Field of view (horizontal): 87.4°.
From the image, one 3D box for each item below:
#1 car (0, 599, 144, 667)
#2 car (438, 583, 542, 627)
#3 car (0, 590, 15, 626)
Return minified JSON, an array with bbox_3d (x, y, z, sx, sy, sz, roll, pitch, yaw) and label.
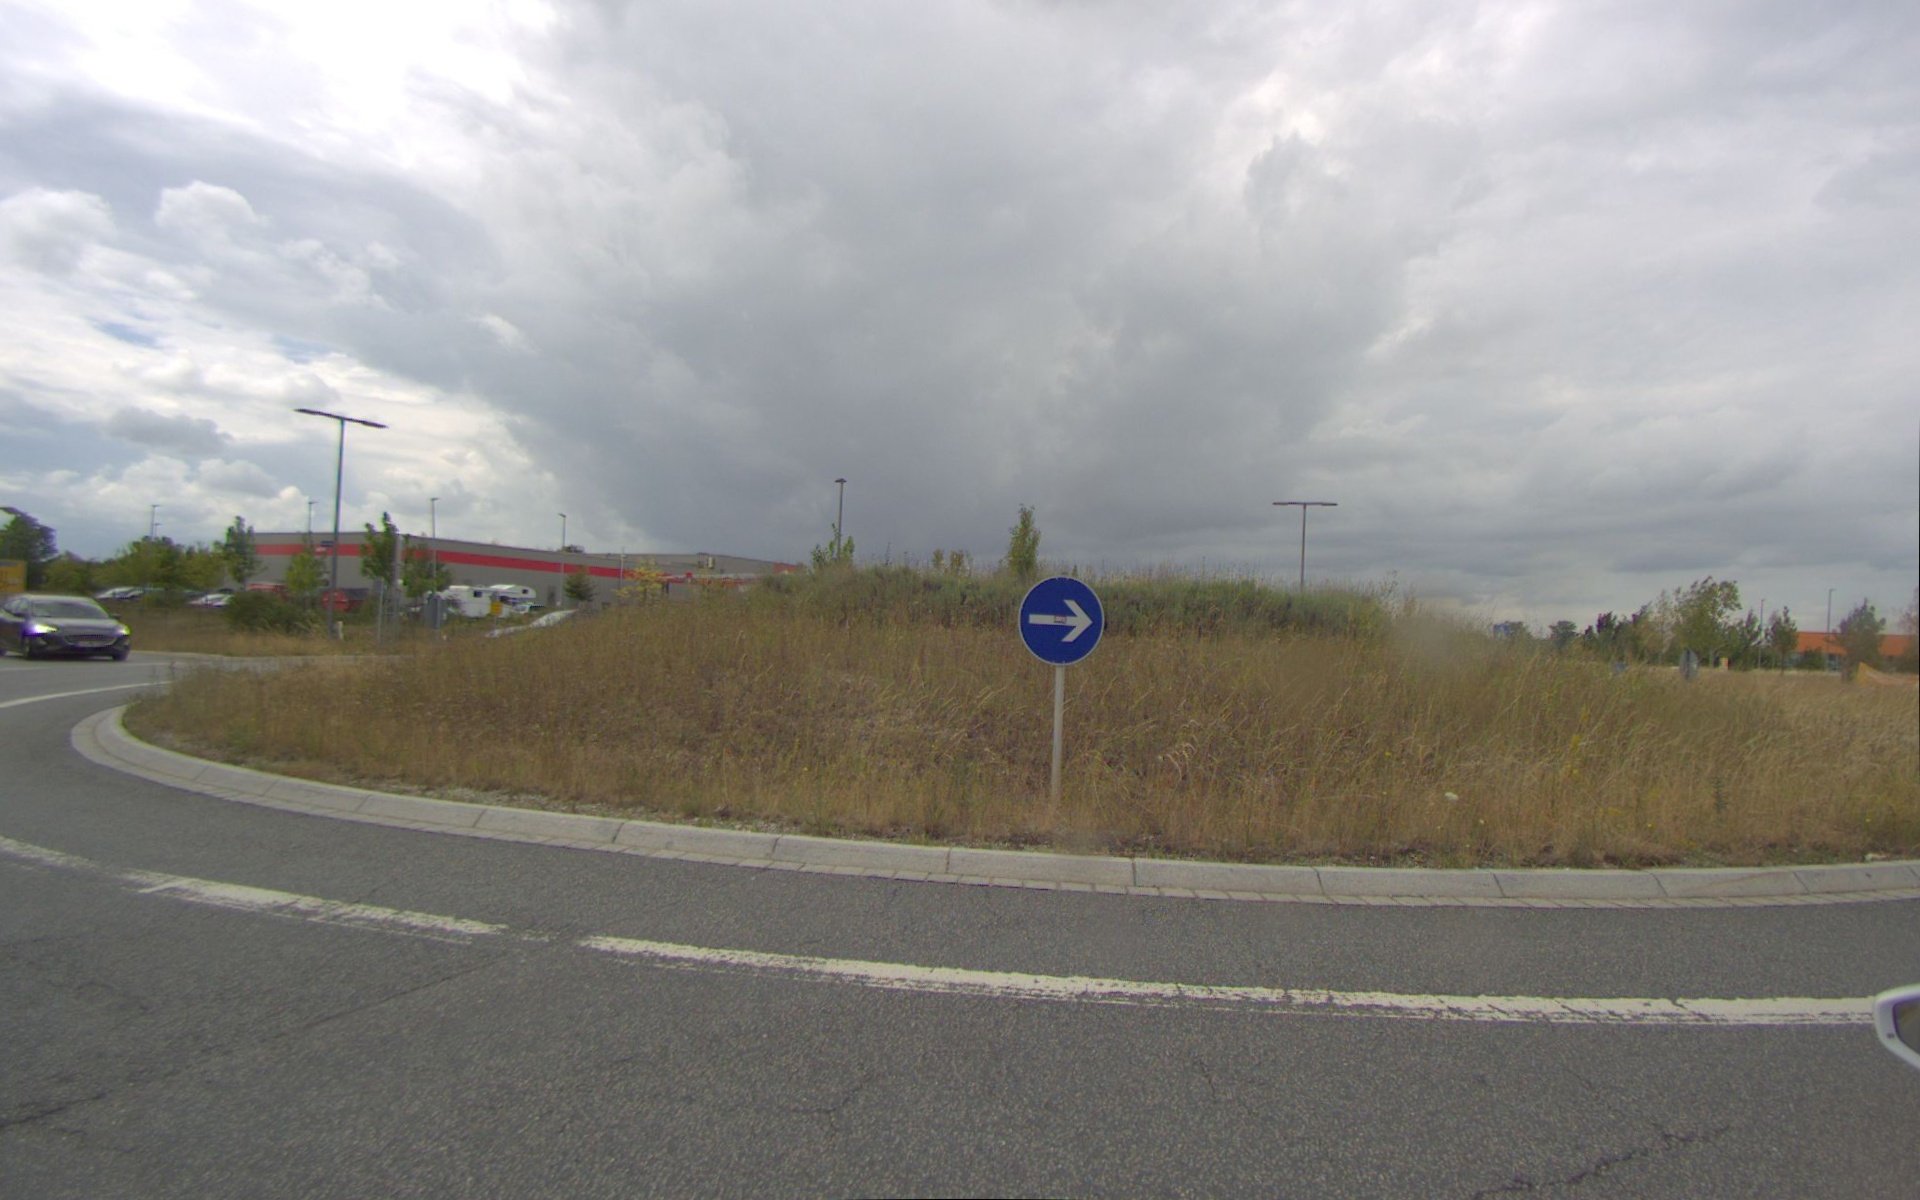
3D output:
[{"bbox_3d":[-20.803,0.756,23.441,3.534,1.267,1.672,3,-3,33],"label":"car"},{"bbox_3d":[-37.930,0.471,81.452,2.424,2.856,7.687,4,-2,25],"label":"car"},{"bbox_3d":[-44.286,0.267,44.541,3.923,1.572,2.017,2,-2,24],"label":"car"}]
